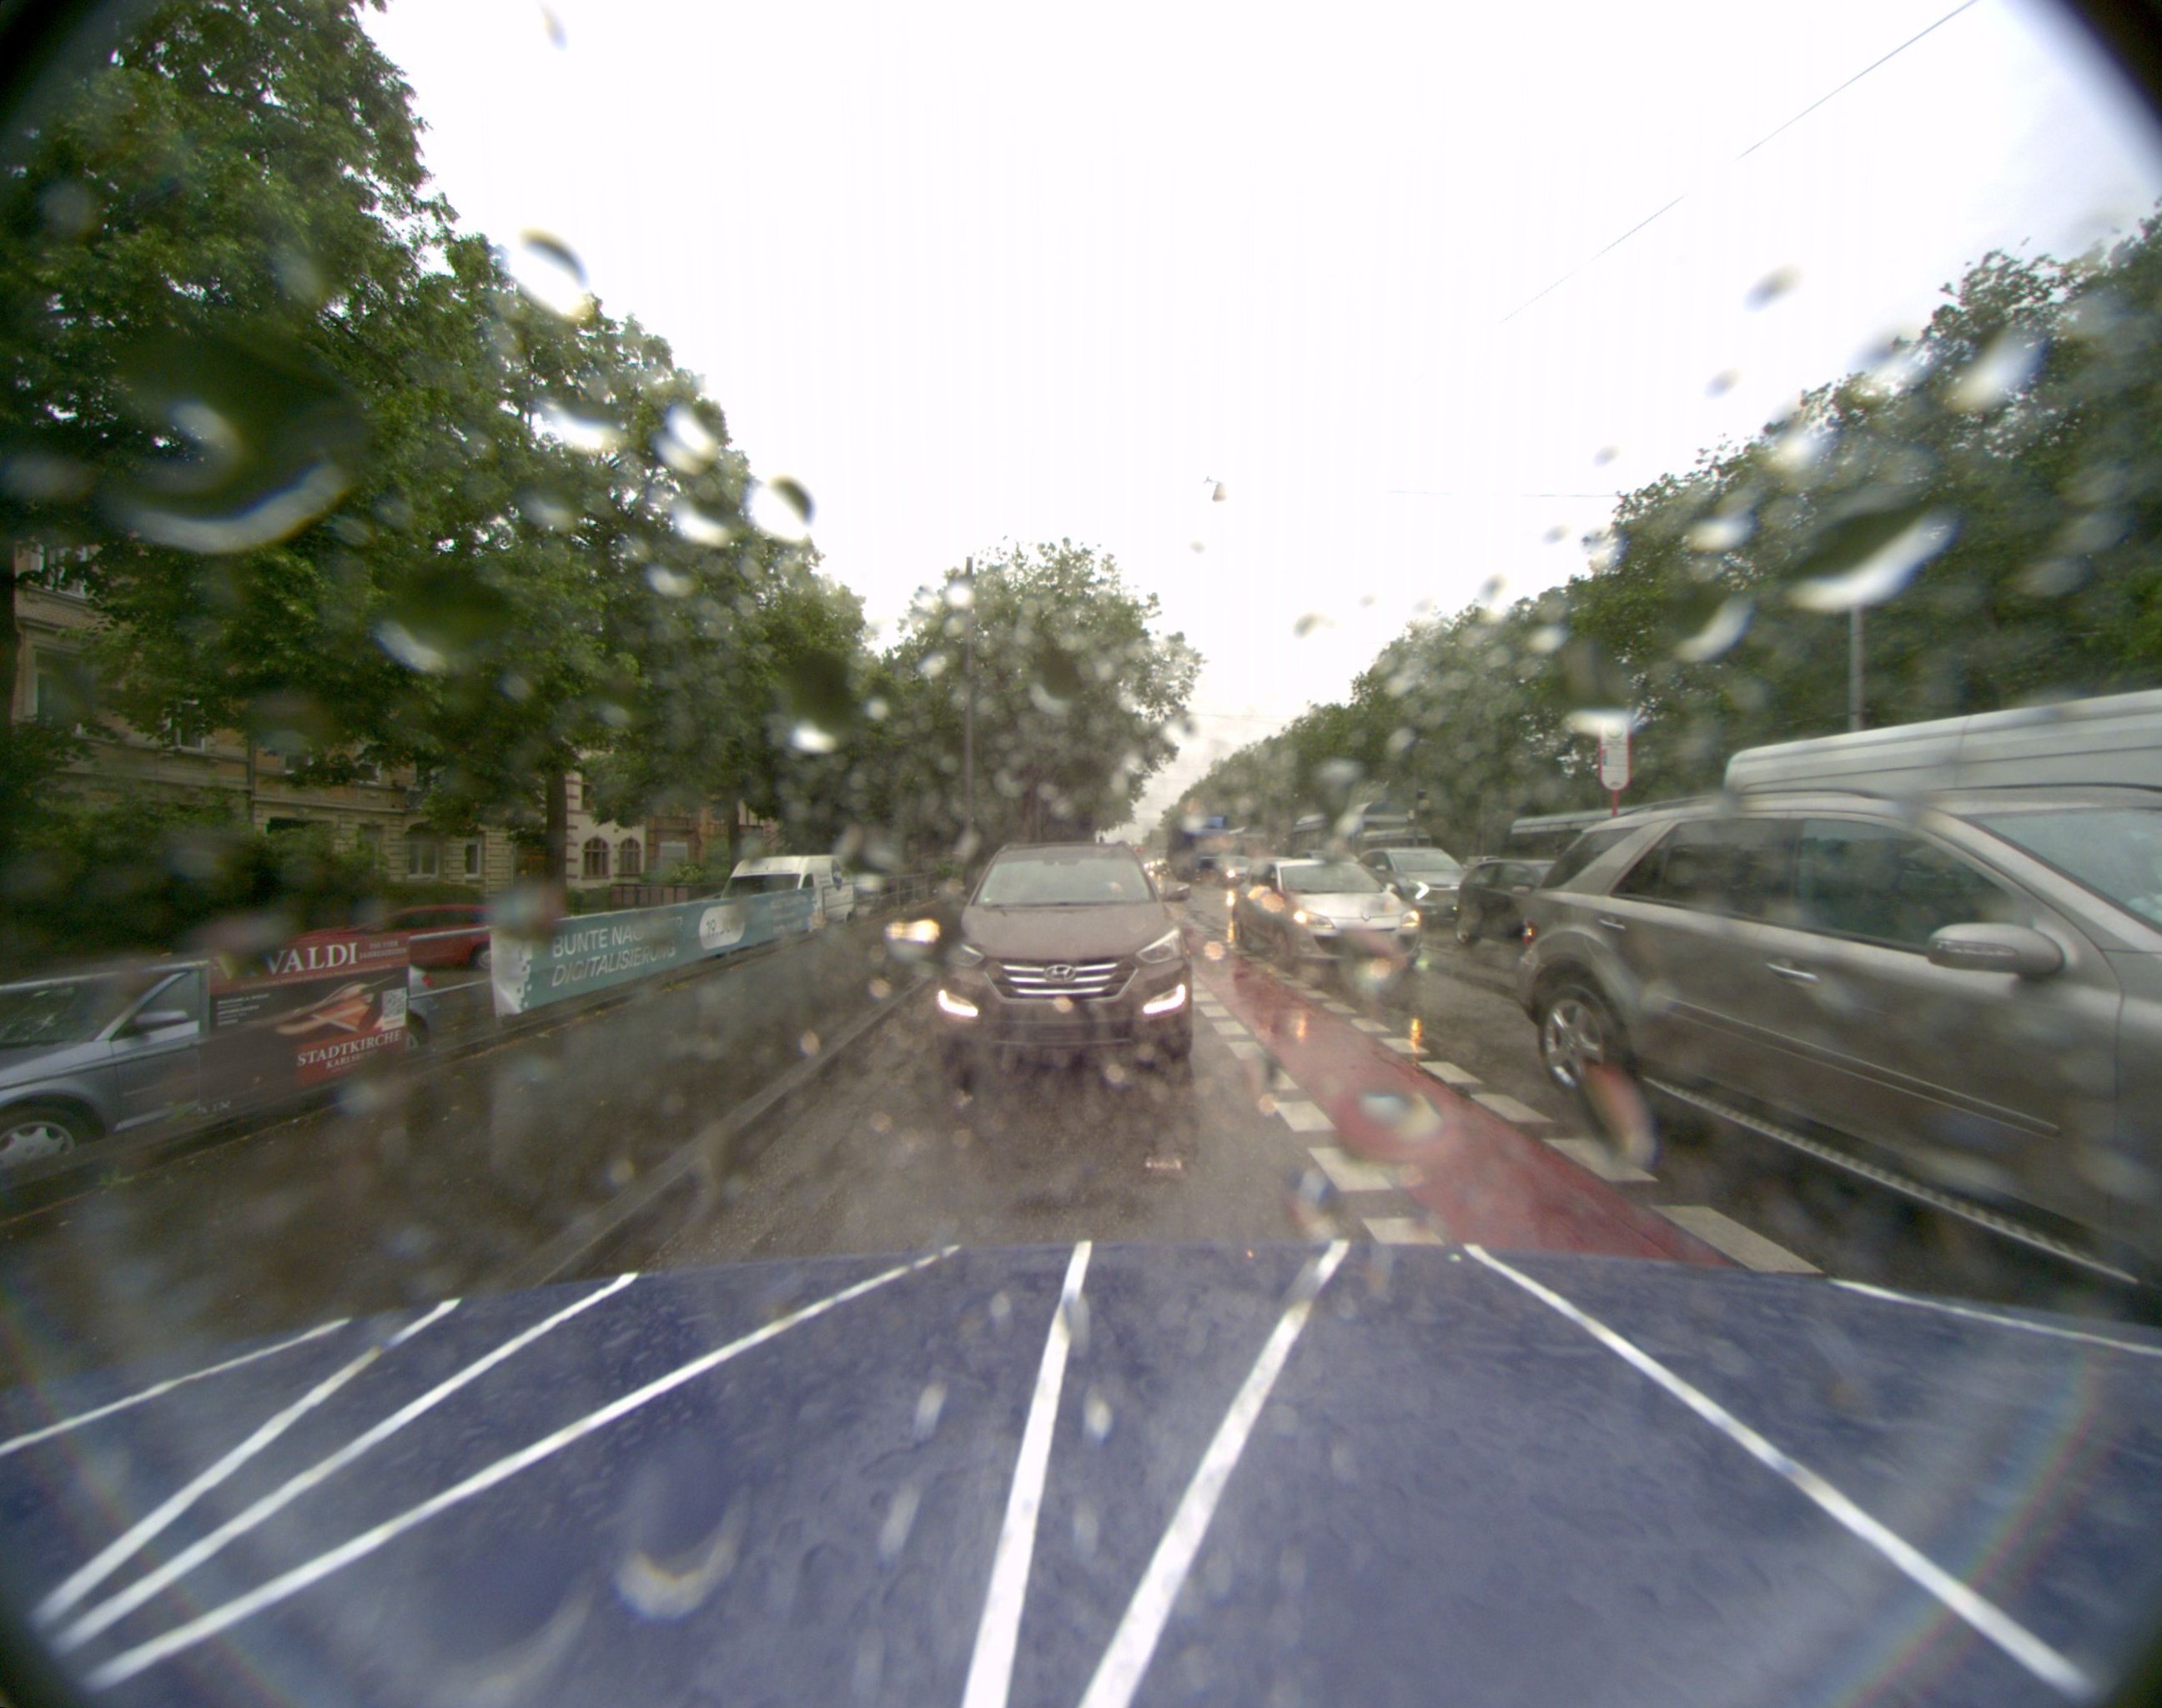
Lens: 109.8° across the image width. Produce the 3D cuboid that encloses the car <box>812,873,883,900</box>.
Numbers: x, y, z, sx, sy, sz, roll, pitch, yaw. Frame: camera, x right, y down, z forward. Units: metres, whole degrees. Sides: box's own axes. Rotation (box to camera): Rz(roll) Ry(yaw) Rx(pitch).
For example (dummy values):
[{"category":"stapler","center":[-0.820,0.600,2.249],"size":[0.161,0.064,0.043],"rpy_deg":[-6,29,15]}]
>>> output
[{"category":"car","center":[-15.441,2.133,50.263],"size":[4.007,1.557,1.995],"rpy_deg":[-2,1,-34]}]

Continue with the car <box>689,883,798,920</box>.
[{"category":"car","center":[-14.865,2.057,33.495],"size":[4.269,1.372,1.687],"rpy_deg":[-1,1,-27]}]

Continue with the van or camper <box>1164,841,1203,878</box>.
[{"category":"van or camper","center":[7.630,0.391,57.108],"size":[1.998,2.555,6.431],"rpy_deg":[-2,0,0]}]

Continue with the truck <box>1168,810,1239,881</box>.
[{"category":"truck","center":[7.262,-0.479,46.466],"size":[2.545,3.866,9.810],"rpy_deg":[1,0,-1]}]

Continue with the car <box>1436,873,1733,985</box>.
[{"category":"car","center":[6.737,0.915,10.763],"size":[1.467,1.111,4.087],"rpy_deg":[-2,0,0]}]

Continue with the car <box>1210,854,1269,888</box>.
[{"category":"car","center":[7.576,0.774,36.644],"size":[1.895,1.478,4.077],"rpy_deg":[-1,0,-1]}]

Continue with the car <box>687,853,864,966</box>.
[{"category":"car","center":[-7.711,1.233,20.091],"size":[2.214,2.406,6.157],"rpy_deg":[-3,0,-2]}]

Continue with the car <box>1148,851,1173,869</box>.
[{"category":"car","center":[7.610,0.571,73.322],"size":[1.998,1.568,4.000],"rpy_deg":[-2,0,1]}]

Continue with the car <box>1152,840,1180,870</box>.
[{"category":"car","center":[7.302,0.086,65.866],"size":[1.998,2.412,5.727],"rpy_deg":[-2,0,3]}]

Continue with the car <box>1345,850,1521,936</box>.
[{"category":"car","center":[7.446,0.734,16.627],"size":[1.919,1.614,4.454],"rpy_deg":[0,0,2]}]

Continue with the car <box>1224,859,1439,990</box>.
[{"category":"car","center":[3.383,0.859,11.110],"size":[1.772,1.469,4.000],"rpy_deg":[-2,0,0]}]

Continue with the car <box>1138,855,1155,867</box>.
[{"category":"car","center":[6.886,0.717,79.892],"size":[1.467,1.185,3.615],"rpy_deg":[-2,0,0]}]

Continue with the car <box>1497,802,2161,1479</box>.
[{"category":"car","center":[3.797,0.713,2.817],"size":[2.030,1.760,4.462],"rpy_deg":[-2,0,0]}]

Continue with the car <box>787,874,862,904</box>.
[{"category":"car","center":[-15.727,2.129,46.660],"size":[4.006,1.599,1.821],"rpy_deg":[-2,1,-31]}]

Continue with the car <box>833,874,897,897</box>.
[{"category":"car","center":[-15.654,2.251,55.192],"size":[4.007,1.455,1.908],"rpy_deg":[-2,1,-34]}]

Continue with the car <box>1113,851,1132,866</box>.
[{"category":"car","center":[4.577,0.477,85.116],"size":[1.899,1.569,3.999],"rpy_deg":[0,0,0]}]

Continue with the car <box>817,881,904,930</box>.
[{"category":"car","center":[-7.767,1.773,27.253],"size":[1.972,1.345,4.383],"rpy_deg":[-3,0,-3]}]

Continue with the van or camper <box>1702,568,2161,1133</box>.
[{"category":"van or camper","center":[7.049,-0.024,4.329],"size":[2.164,3.123,5.850],"rpy_deg":[0,0,-1]}]

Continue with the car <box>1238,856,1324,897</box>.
[{"category":"car","center":[7.520,0.795,29.055],"size":[1.999,1.386,4.606],"rpy_deg":[0,0,-1]}]

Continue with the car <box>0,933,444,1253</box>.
[{"category":"car","center":[-7.239,1.595,5.535],"size":[1.736,1.530,4.074],"rpy_deg":[-2,0,-1]}]

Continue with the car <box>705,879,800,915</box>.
[{"category":"car","center":[-15.532,1.993,35.995],"size":[4.005,1.496,1.655],"rpy_deg":[-1,1,-24]}]

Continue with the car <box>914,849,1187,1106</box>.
[{"category":"car","center":[-0.137,0.813,6.860],"size":[1.756,1.657,3.678],"rpy_deg":[-2,0,2]}]

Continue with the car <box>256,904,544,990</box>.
[{"category":"car","center":[-14.631,1.932,16.735],"size":[4.439,1.444,1.894],"rpy_deg":[0,-1,-32]}]

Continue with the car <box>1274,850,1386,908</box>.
[{"category":"car","center":[7.562,0.692,23.577],"size":[1.999,1.611,4.319],"rpy_deg":[-1,0,-1]}]
